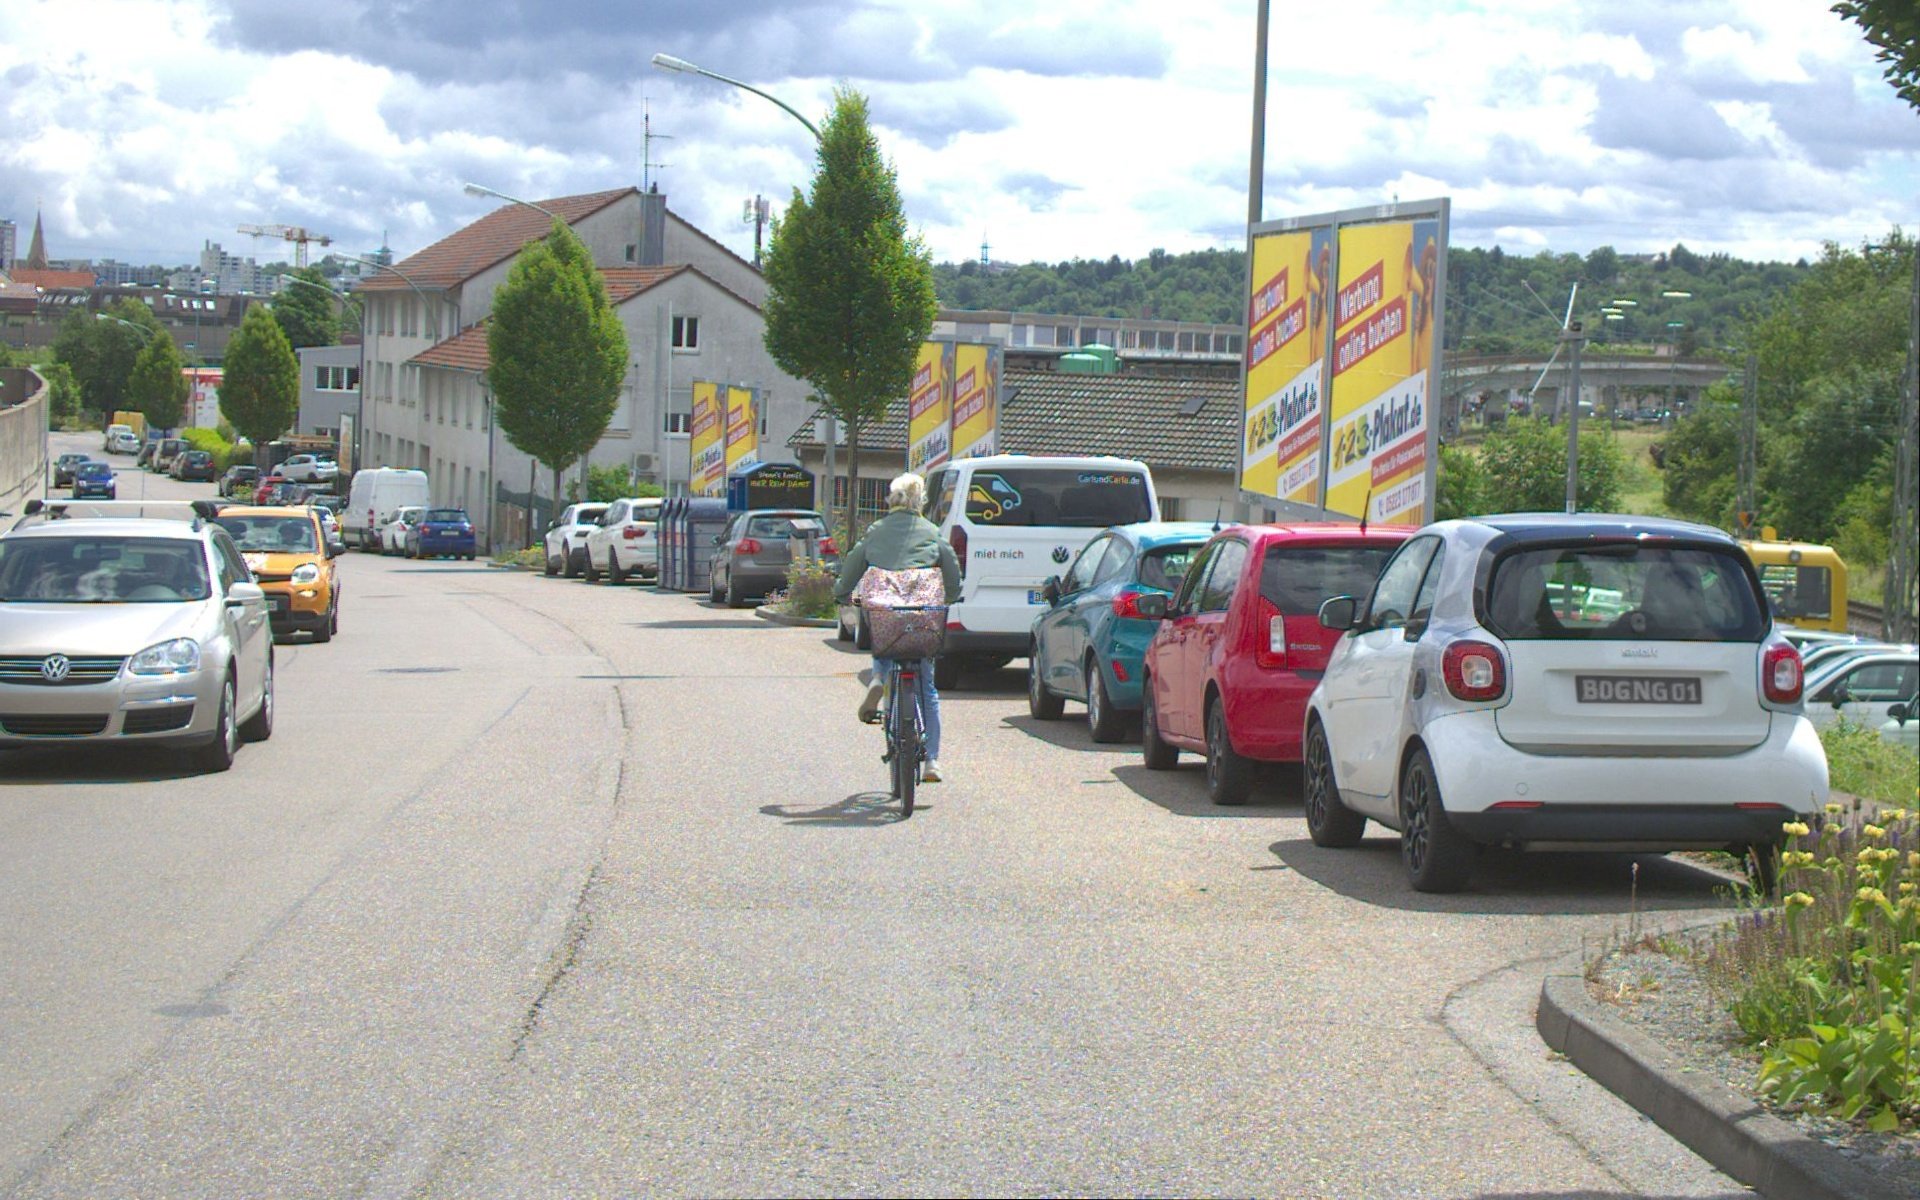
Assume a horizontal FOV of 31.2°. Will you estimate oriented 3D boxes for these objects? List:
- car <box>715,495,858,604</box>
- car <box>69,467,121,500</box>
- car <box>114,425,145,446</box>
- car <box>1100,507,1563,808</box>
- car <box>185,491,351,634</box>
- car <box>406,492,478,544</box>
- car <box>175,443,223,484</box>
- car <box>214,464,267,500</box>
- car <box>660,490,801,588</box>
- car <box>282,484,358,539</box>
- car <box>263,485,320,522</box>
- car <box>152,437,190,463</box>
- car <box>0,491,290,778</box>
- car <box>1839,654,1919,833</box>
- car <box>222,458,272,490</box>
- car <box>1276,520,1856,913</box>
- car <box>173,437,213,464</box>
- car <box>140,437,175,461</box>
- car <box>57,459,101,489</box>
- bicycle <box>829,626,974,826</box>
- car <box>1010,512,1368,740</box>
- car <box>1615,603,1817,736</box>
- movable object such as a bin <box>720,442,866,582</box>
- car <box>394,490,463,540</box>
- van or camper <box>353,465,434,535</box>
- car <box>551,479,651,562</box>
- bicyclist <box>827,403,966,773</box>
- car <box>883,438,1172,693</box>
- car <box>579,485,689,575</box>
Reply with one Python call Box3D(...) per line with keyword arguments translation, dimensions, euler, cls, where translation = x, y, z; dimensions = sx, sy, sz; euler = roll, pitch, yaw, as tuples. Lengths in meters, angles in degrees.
Box3D(translation=(-2.708, -0.809, 52.968), dimensions=(1.993, 1.612, 4.001), euler=(0, 2, -6), cls="car")
Box3D(translation=(-37.710, -5.067, 149.934), dimensions=(1.993, 1.415, 4.001), euler=(0, 2, -12), cls="car")
Box3D(translation=(-57.837, -11.433, 239.329), dimensions=(1.993, 1.415, 4.001), euler=(0, 2, -15), cls="car")
Box3D(translation=(1.961, 0.234, 19.352), dimensions=(1.875, 1.503, 4.001), euler=(0, 2, -5), cls="car")
Box3D(translation=(-7.972, -0.480, 39.842), dimensions=(1.708, 1.568, 4.001), euler=(0, 2, -9), cls="car")
Box3D(translation=(-14.881, -2.373, 98.621), dimensions=(1.993, 1.459, 4.001), euler=(0, 2, -9), cls="car")
Box3D(translation=(-40.426, -7.266, 182.606), dimensions=(1.993, 2.006, 4.002), euler=(3, 2, -18), cls="car")
Box3D(translation=(-29.533, -4.841, 141.135), dimensions=(1.993, 1.459, 4.001), euler=(0, 2, -14), cls="car")
Box3D(translation=(-4.161, -1.119, 61.784), dimensions=(2.134, 1.700, 4.001), euler=(0, 2, -10), cls="car")
Box3D(translation=(-18.986, -2.630, 101.885), dimensions=(1.993, 1.612, 4.001), euler=(0, 2, -13), cls="car")
Box3D(translation=(-26.281, -3.795, 135.015), dimensions=(1.993, 1.459, 4.001), euler=(0, 2, -14), cls="car")
Box3D(translation=(-45.067, -8.581, 196.334), dimensions=(1.993, 1.415, 4.001), euler=(0, 2, -15), cls="car")
Box3D(translation=(-5.141, 0.127, 20.897), dimensions=(1.702, 1.556, 4.329), euler=(1, 2, -6), cls="car")
Box3D(translation=(9.430, 1.329, 31.627), dimensions=(1.620, 1.501, 3.579), euler=(0, 2, -3), cls="car")
Box3D(translation=(-32.566, -5.749, 156.969), dimensions=(1.993, 1.415, 4.001), euler=(0, 2, -15), cls="car")
Box3D(translation=(2.496, 0.416, 14.827), dimensions=(1.793, 1.501, 2.907), euler=(0, 2, -4), cls="car")
Box3D(translation=(-41.751, -8.122, 187.111), dimensions=(1.993, 1.415, 4.001), euler=(0, 2, -15), cls="car")
Box3D(translation=(-48.627, -9.126, 208.301), dimensions=(1.993, 1.415, 4.001), euler=(0, 2, -15), cls="car")
Box3D(translation=(-42.156, -6.015, 164.472), dimensions=(1.993, 1.415, 4.001), euler=(0, 2, -15), cls="car")
Box3D(translation=(-0.304, 0.610, 17.466), dimensions=(0.687, 0.875, 2.102), euler=(0, 2, -1), cls="bicycle")
Box3D(translation=(1.499, 0.120, 23.794), dimensions=(1.903, 1.437, 3.545), euler=(0, 2, -6), cls="car")
Box3D(translation=(9.522, 0.842, 43.534), dimensions=(1.620, 1.501, 3.579), euler=(0, 2, -3), cls="car")
Box3D(translation=(-2.819, -1.479, 57.644), dimensions=(2.134, 2.294, 2.559), euler=(0, 2, -10), cls="movable object such as a bin")
Box3D(translation=(-15.927, -2.554, 102.897), dimensions=(1.993, 1.459, 4.001), euler=(0, 2, -9), cls="car")
Box3D(translation=(-17.750, -3.158, 107.610), dimensions=(1.993, 2.006, 4.002), euler=(3, 1, -15), cls="van or camper")
Box3D(translation=(-7.629, -1.694, 72.782), dimensions=(1.842, 1.700, 4.001), euler=(0, 2, -10), cls="car")
Box3D(translation=(-0.324, -0.075, 17.408), dimensions=(0.684, 1.819, 1.081), euler=(0, 2, -1), cls="bicyclist")
Box3D(translation=(0.495, -0.351, 30.431), dimensions=(1.993, 2.006, 4.919), euler=(2, 2, -5), cls="car")
Box3D(translation=(-6.375, -1.386, 66.904), dimensions=(1.813, 1.700, 4.001), euler=(0, 2, -10), cls="car")
